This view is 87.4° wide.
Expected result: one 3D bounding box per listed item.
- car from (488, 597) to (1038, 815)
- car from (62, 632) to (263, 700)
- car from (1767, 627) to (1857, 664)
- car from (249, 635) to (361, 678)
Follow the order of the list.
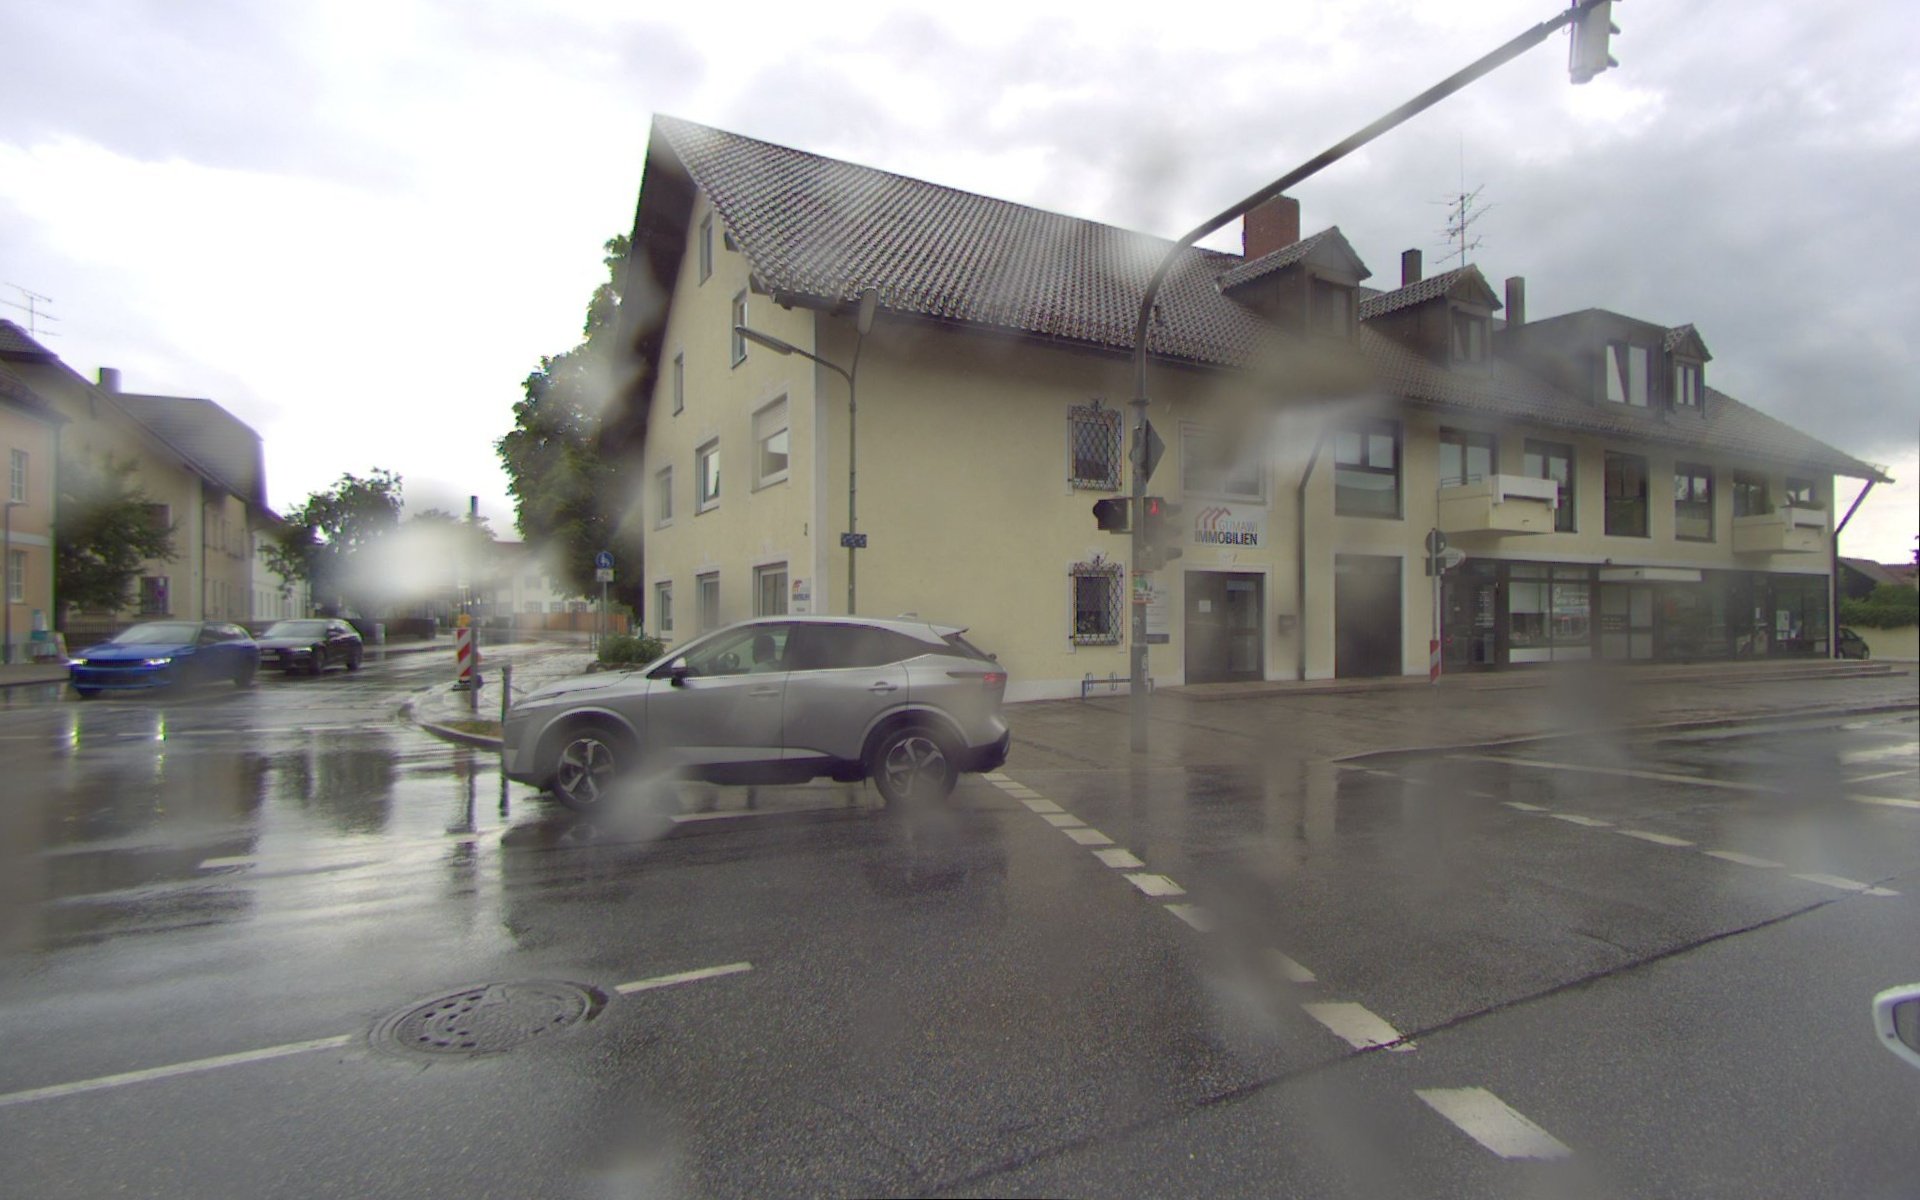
[{"bbox_3d":[-1.577,0.881,9.019,4.302,1.695,2.088,0,-2,-4],"label":"car"},{"bbox_3d":[-16.227,1.280,20.726,1.662,1.201,4.346,1,-1,-16],"label":"car"},{"bbox_3d":[33.428,1.756,39.412,3.467,1.398,1.600,1,-2,-30],"label":"car"},{"bbox_3d":[-17.896,1.516,27.631,1.400,1.030,4.061,1,-1,-16],"label":"car"}]
